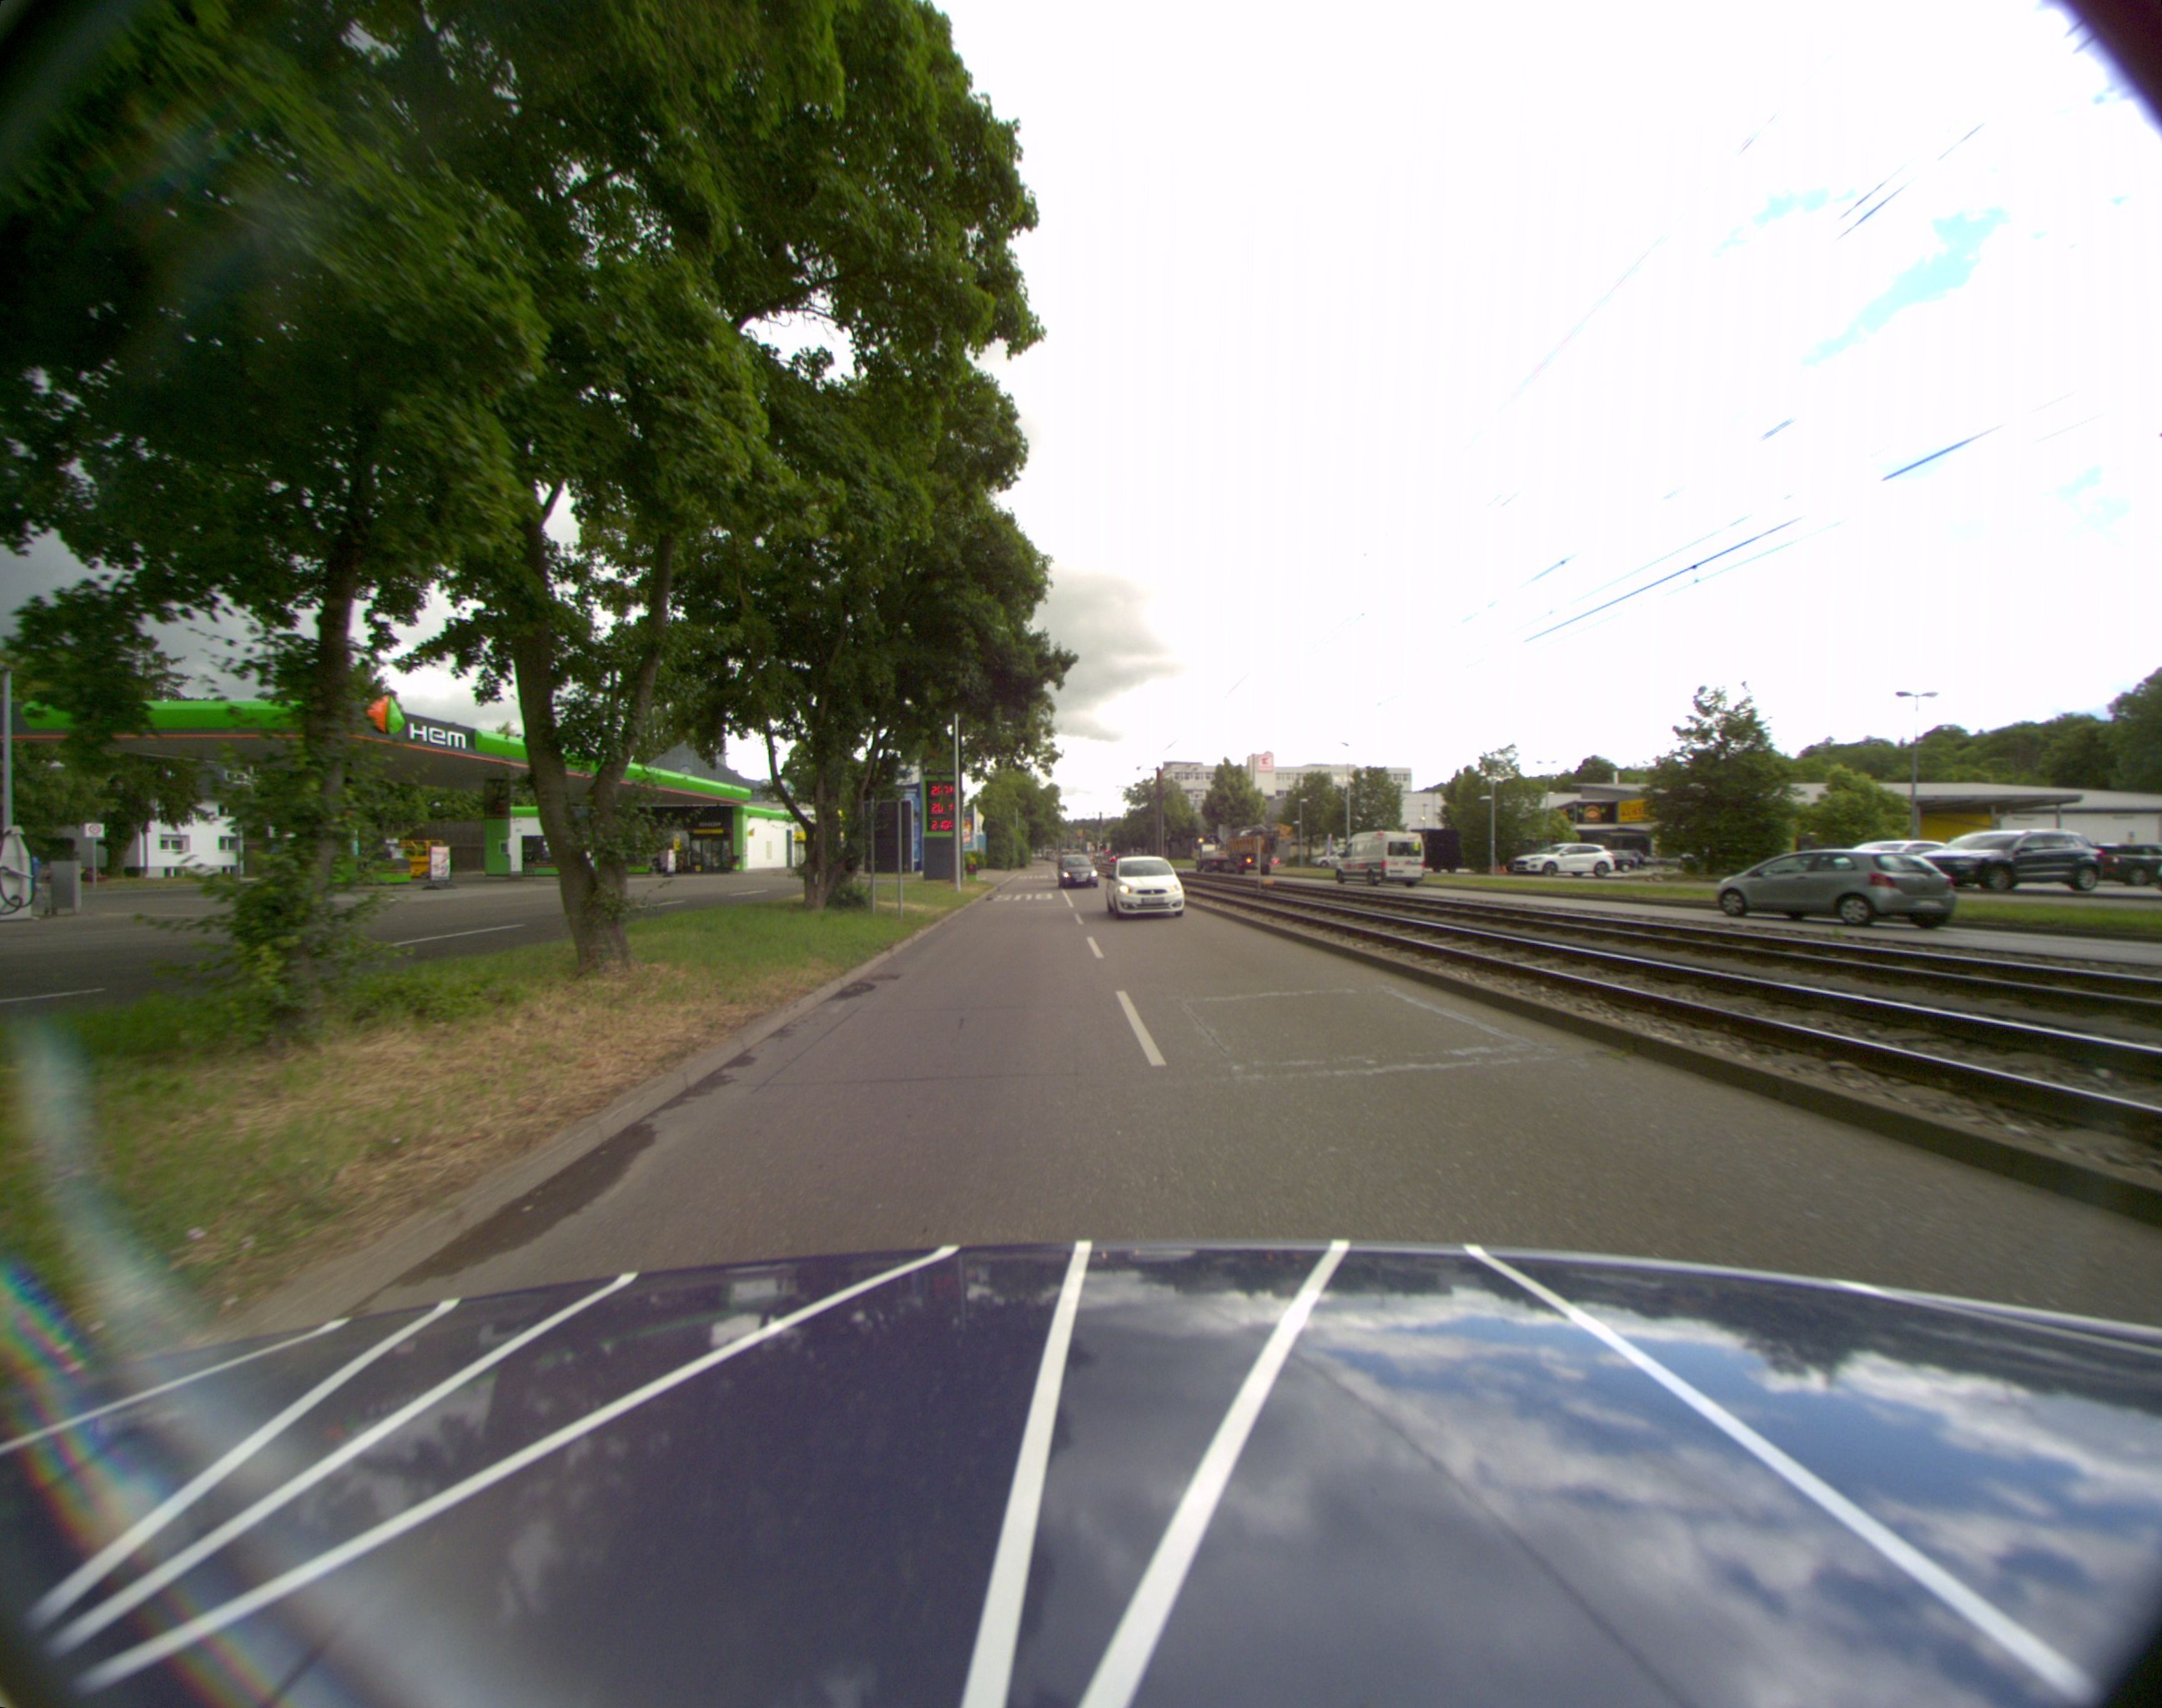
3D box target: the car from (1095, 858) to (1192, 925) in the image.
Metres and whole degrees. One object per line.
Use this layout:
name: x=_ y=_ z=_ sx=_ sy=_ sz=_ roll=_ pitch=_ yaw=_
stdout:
car: x=1.494 y=0.874 z=19.684 sx=1.787 sy=1.435 sz=3.998 roll=-3 pitch=0 yaw=-5

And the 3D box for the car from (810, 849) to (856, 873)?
car: x=-17.609 y=0.486 z=54.127 sx=1.999 sy=1.629 sz=4.325 roll=2 pitch=0 yaw=-2

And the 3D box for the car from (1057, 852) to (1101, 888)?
car: x=-0.138 y=0.752 z=37.570 sx=1.787 sy=1.614 sz=3.998 roll=-3 pitch=0 yaw=-5
